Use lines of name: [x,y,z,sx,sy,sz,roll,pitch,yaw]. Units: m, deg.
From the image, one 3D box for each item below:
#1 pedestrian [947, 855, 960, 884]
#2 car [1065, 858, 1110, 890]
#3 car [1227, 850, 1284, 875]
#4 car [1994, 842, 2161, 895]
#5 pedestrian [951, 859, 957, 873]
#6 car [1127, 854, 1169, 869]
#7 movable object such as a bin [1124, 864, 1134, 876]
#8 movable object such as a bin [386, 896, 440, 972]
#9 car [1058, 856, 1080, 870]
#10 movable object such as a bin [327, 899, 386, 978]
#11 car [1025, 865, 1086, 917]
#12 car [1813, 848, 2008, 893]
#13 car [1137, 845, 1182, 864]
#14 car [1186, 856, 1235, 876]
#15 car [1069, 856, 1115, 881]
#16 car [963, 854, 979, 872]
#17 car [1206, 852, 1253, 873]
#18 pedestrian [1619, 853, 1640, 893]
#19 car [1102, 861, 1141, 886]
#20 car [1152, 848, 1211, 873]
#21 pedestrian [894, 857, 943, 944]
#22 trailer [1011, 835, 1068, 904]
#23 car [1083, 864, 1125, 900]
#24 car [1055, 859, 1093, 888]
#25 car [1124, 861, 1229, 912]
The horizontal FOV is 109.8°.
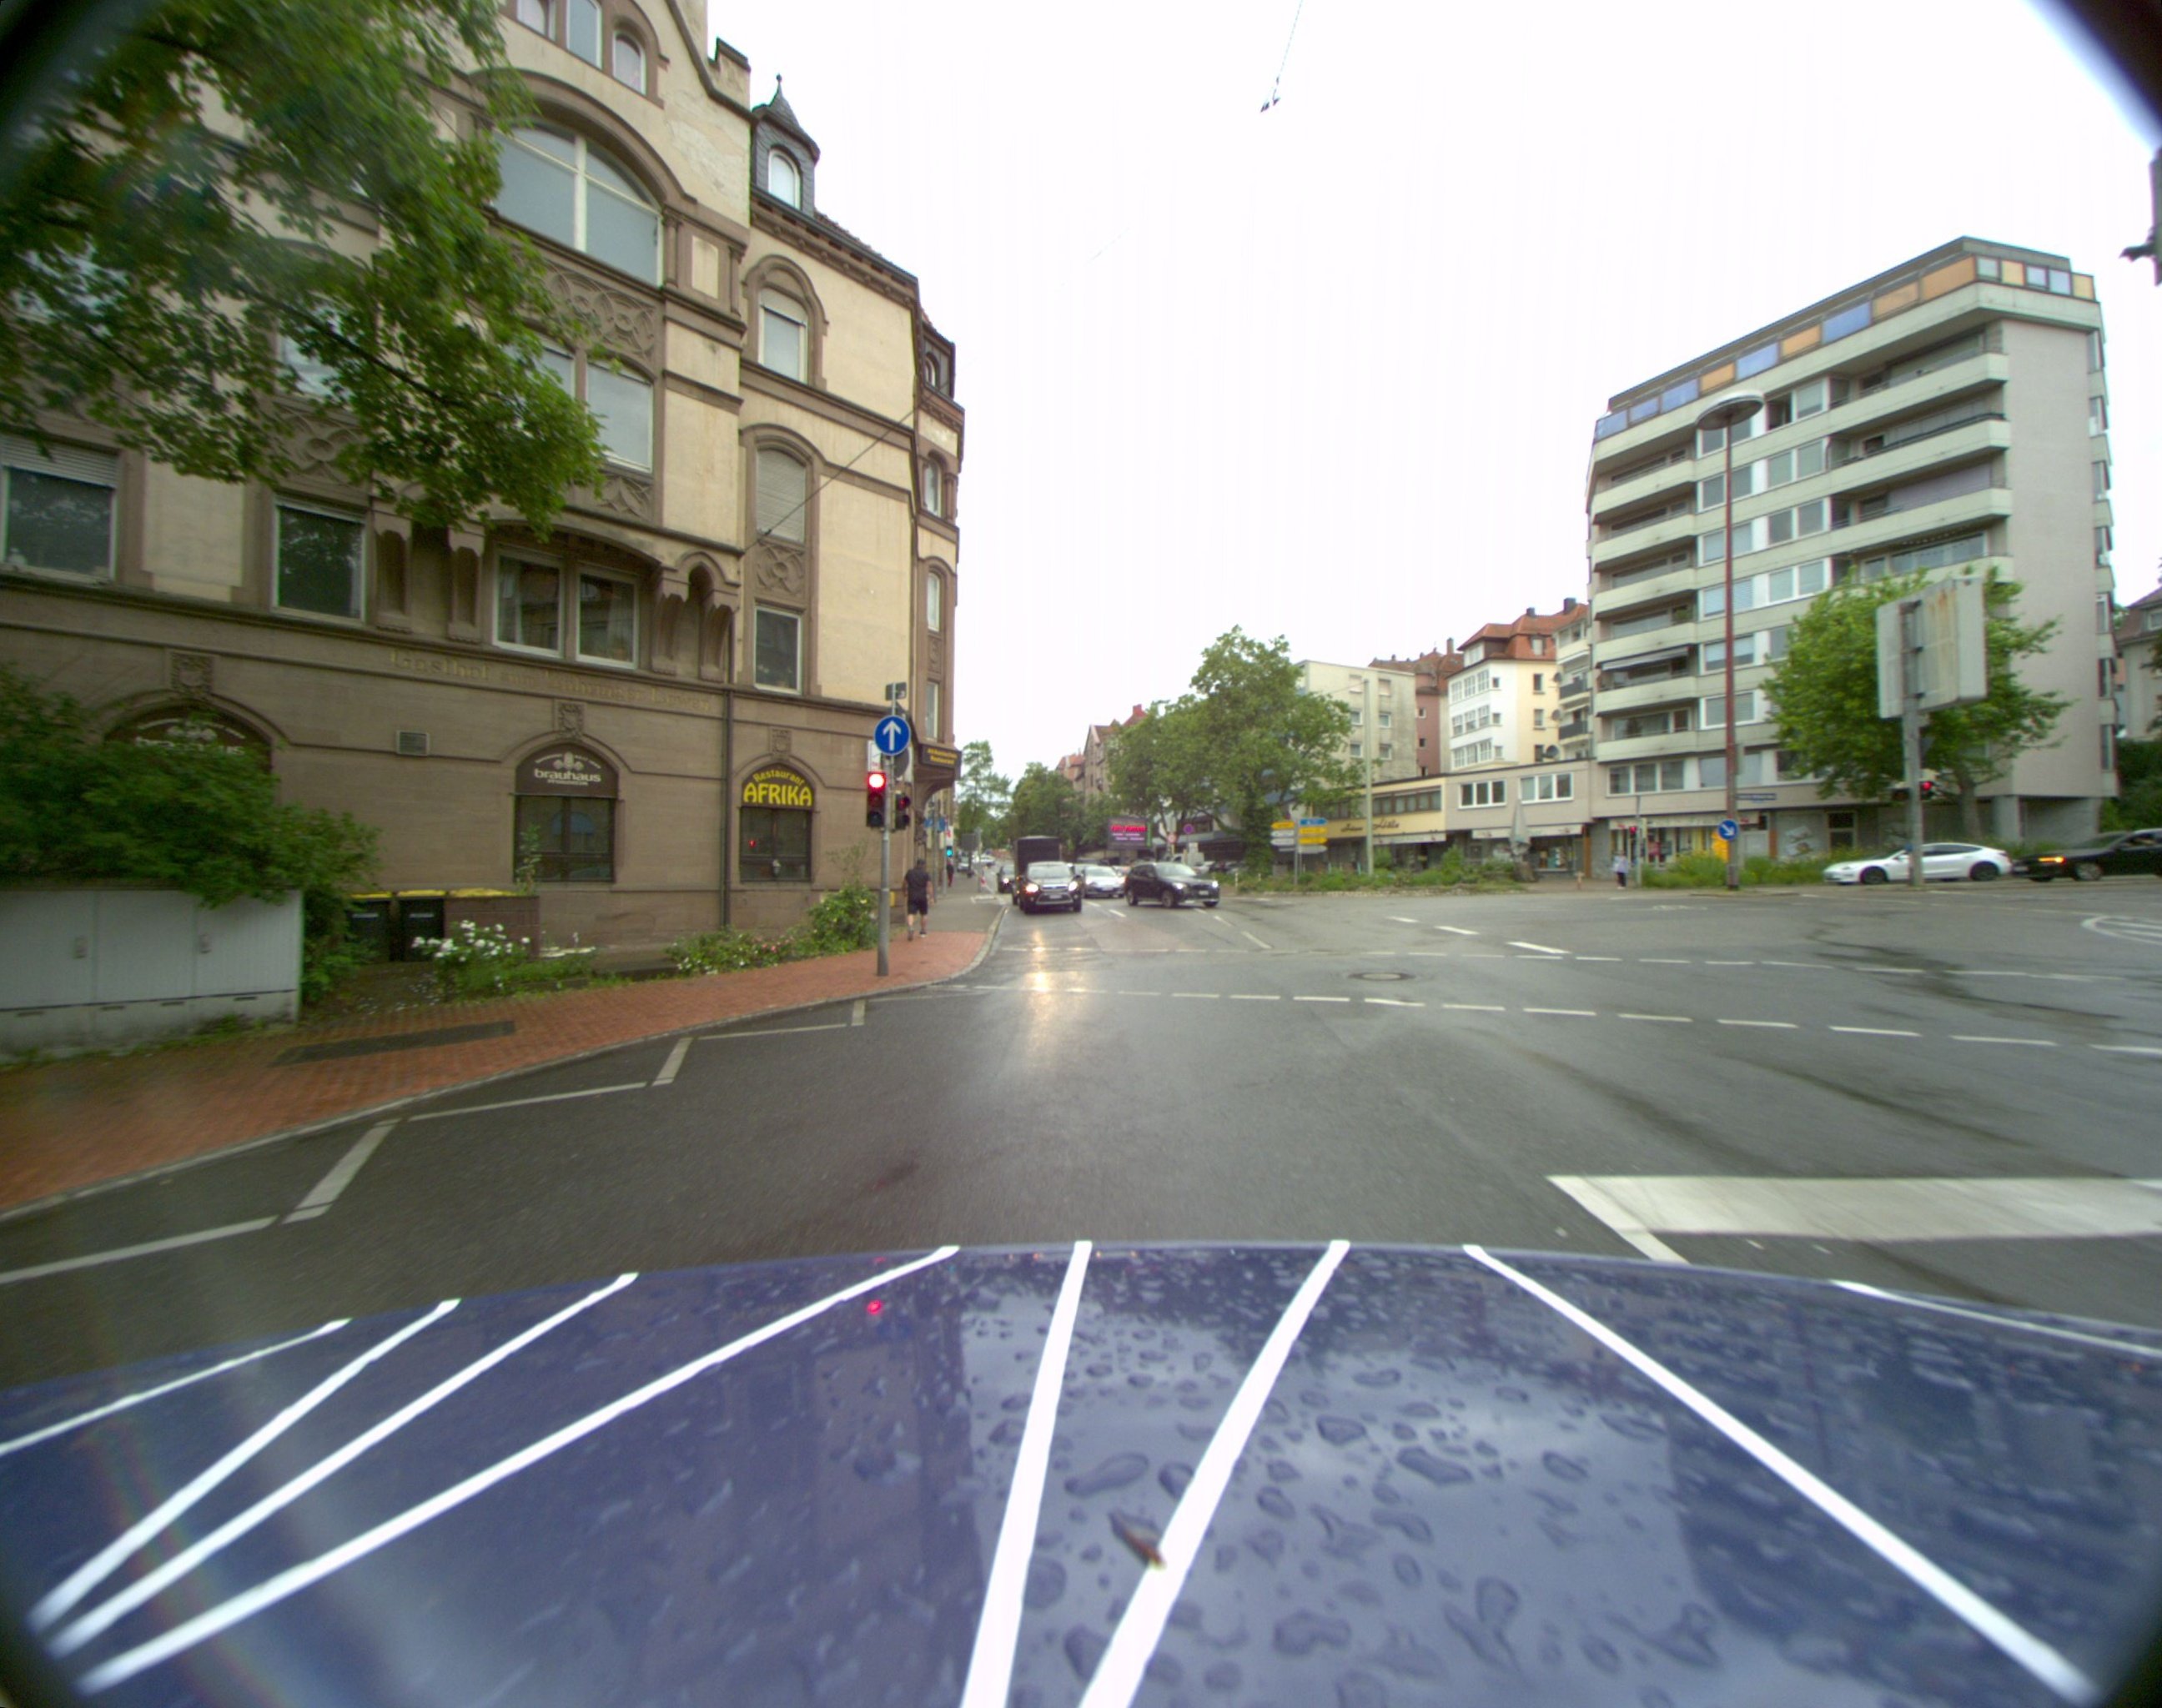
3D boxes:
pedestrian: [-8.862,1.083,52.963,0.699,1.938,1.090,-1,1,0]
car: [0.311,1.077,42.006,1.758,1.634,4.209,-2,-1,-9]
car: [13.072,0.615,56.766,4.224,1.633,1.936,-3,2,-39]
car: [30.235,0.416,22.300,4.014,1.482,1.769,-2,-1,21]
pedestrian: [-13.824,1.279,82.772,0.645,1.489,0.690,3,4,-10]
car: [6.515,0.702,74.076,3.842,1.397,1.687,-1,2,-30]
movable object such as a bin: [4.159,1.390,65.793,0.644,1.073,0.627,-1,2,-12]
movable object such as a bin: [-10.042,1.178,11.422,0.560,1.059,0.541,-3,1,-42]
car: [-1.309,0.930,81.792,1.719,1.488,3.679,0,0,-10]
movable object such as a bin: [-10.517,1.211,11.049,0.576,1.051,0.535,-3,1,-42]
car: [-0.909,1.160,25.240,1.863,1.504,3.680,0,1,-4]
car: [29.864,0.594,27.563,4.383,1.483,1.916,-2,1,21]
car: [7.395,-0.015,71.398,3.842,1.680,1.802,-1,2,-28]
car: [10.488,0.956,61.653,3.711,1.408,1.807,-2,2,-35]
car: [0.856,1.124,59.993,1.751,1.836,4.136,0,1,-30]
car: [-11.714,0.965,80.783,1.527,1.609,3.489,4,2,-9]
car: [11.686,0.637,59.584,3.629,1.408,1.626,-3,2,-39]
pedestrian: [23.588,0.792,32.685,0.618,1.683,0.626,0,1,45]
car: [2.635,1.263,50.349,1.630,1.509,3.867,-2,0,-11]
car: [8.839,0.572,66.516,4.984,1.966,1.875,-2,2,-29]
pedestrian: [-3.274,0.921,15.414,0.830,1.669,0.893,-2,1,-6]
trailer: [-1.791,0.589,31.592,1.940,2.622,4.680,-1,1,-8]
car: [1.047,1.217,34.512,1.756,1.474,4.181,-1,0,2]
car: [-0.496,1.207,49.560,1.758,1.635,4.373,-2,2,-10]
car: [3.120,1.013,25.686,1.759,1.526,4.207,-2,0,-20]
